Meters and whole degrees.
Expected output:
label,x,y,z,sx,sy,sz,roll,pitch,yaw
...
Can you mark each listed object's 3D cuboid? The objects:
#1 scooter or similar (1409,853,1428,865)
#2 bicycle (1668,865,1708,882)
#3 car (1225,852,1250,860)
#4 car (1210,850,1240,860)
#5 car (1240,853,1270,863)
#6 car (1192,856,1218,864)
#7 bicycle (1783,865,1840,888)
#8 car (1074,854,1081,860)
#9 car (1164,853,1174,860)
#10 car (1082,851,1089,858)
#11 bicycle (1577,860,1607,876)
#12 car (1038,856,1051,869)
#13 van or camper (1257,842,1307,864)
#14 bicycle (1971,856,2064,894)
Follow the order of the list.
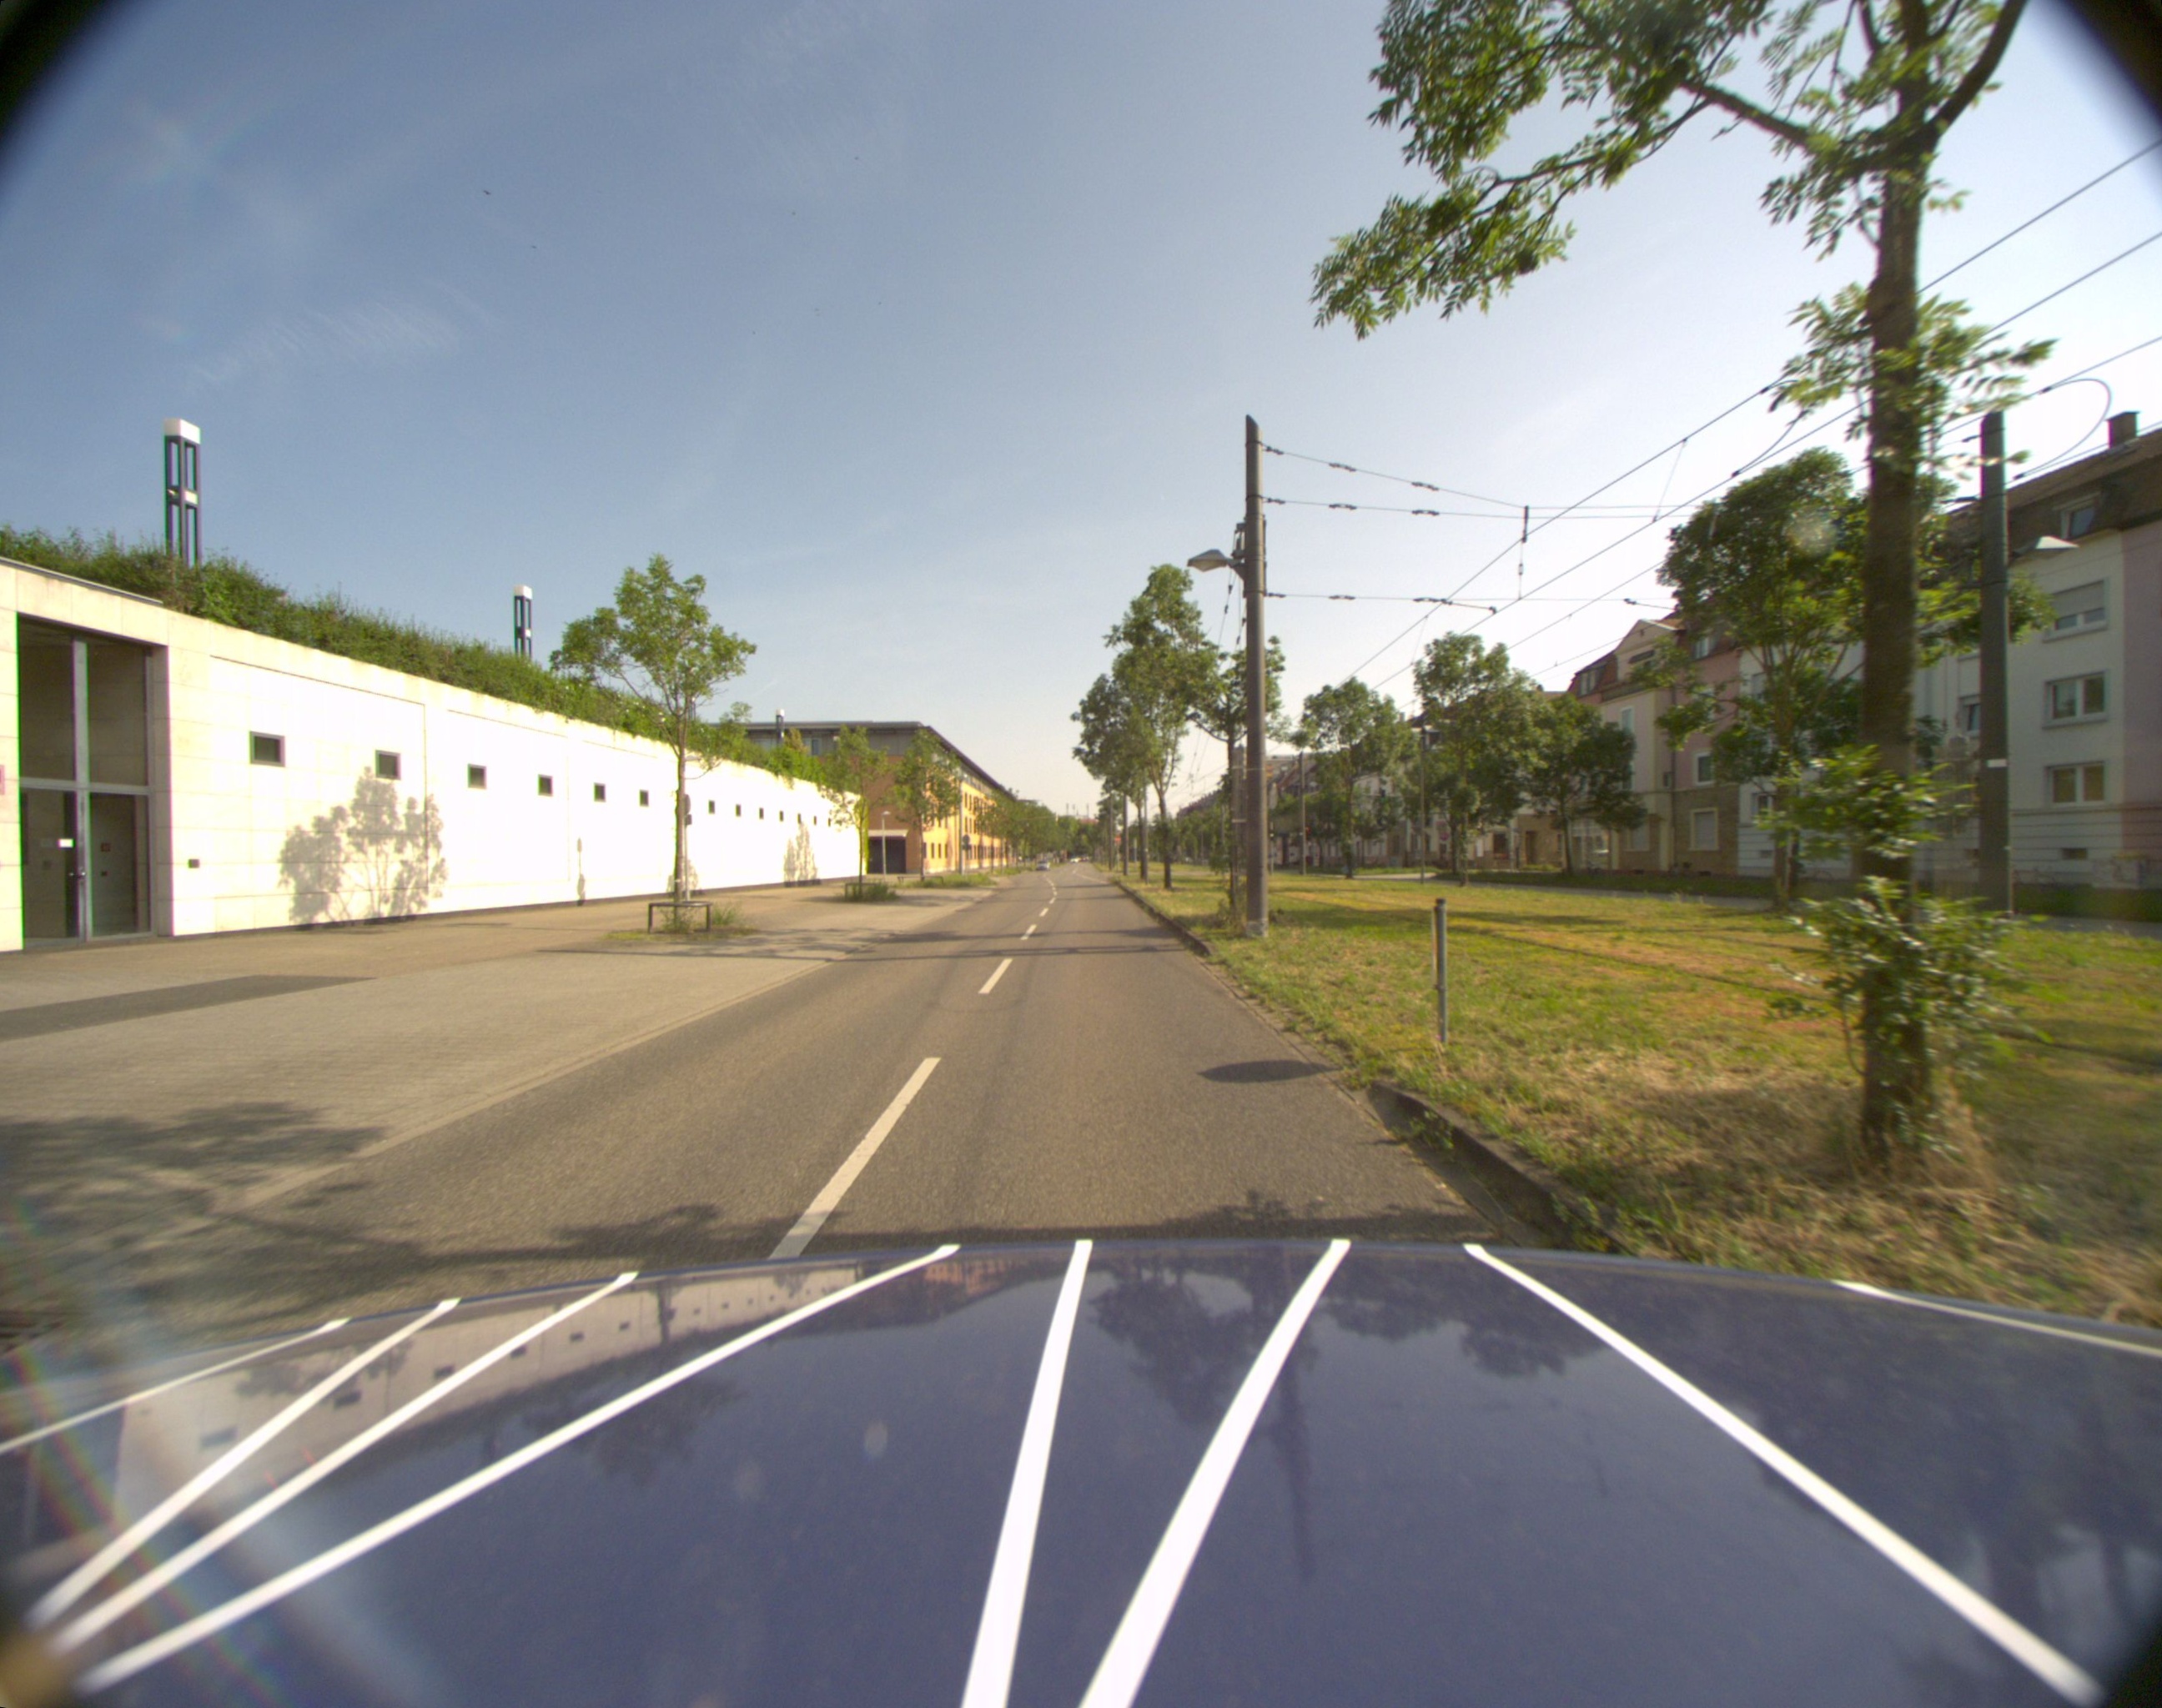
label,x,y,z,sx,sy,sz,roll,pitch,yaw
scooter or similar,31.293,0.502,70.420,0.743,1.062,1.486,-3,1,-21
bicycle,30.807,0.982,38.614,0.438,0.784,1.947,-3,1,-1
car,26.441,0.370,128.213,3.677,1.234,1.665,-2,1,35
car,26.875,0.230,141.841,4.939,1.716,1.860,-2,1,35
car,26.397,0.668,115.336,4.004,1.309,1.665,-2,1,35
car,25.221,1.195,154.609,4.765,1.477,2.026,-2,1,32
bicycle,30.548,0.939,31.813,0.448,0.852,1.947,-3,1,-1
car,-0.912,0.738,197.933,1.693,1.476,3.365,-3,1,-1
car,20.947,0.624,180.240,1.817,1.425,3.925,-3,1,0
car,1.454,0.183,232.355,1.998,2.002,4.000,-3,1,1
bicycle,30.841,0.846,45.881,0.469,0.884,1.947,-3,1,-1
car,-4.938,1.129,102.580,1.629,1.476,3.365,-3,1,-1
van or camper,26.949,-0.127,101.962,5.910,2.559,2.203,-2,1,35
bicycle,30.445,0.663,24.749,0.605,1.121,1.947,-3,1,-1
